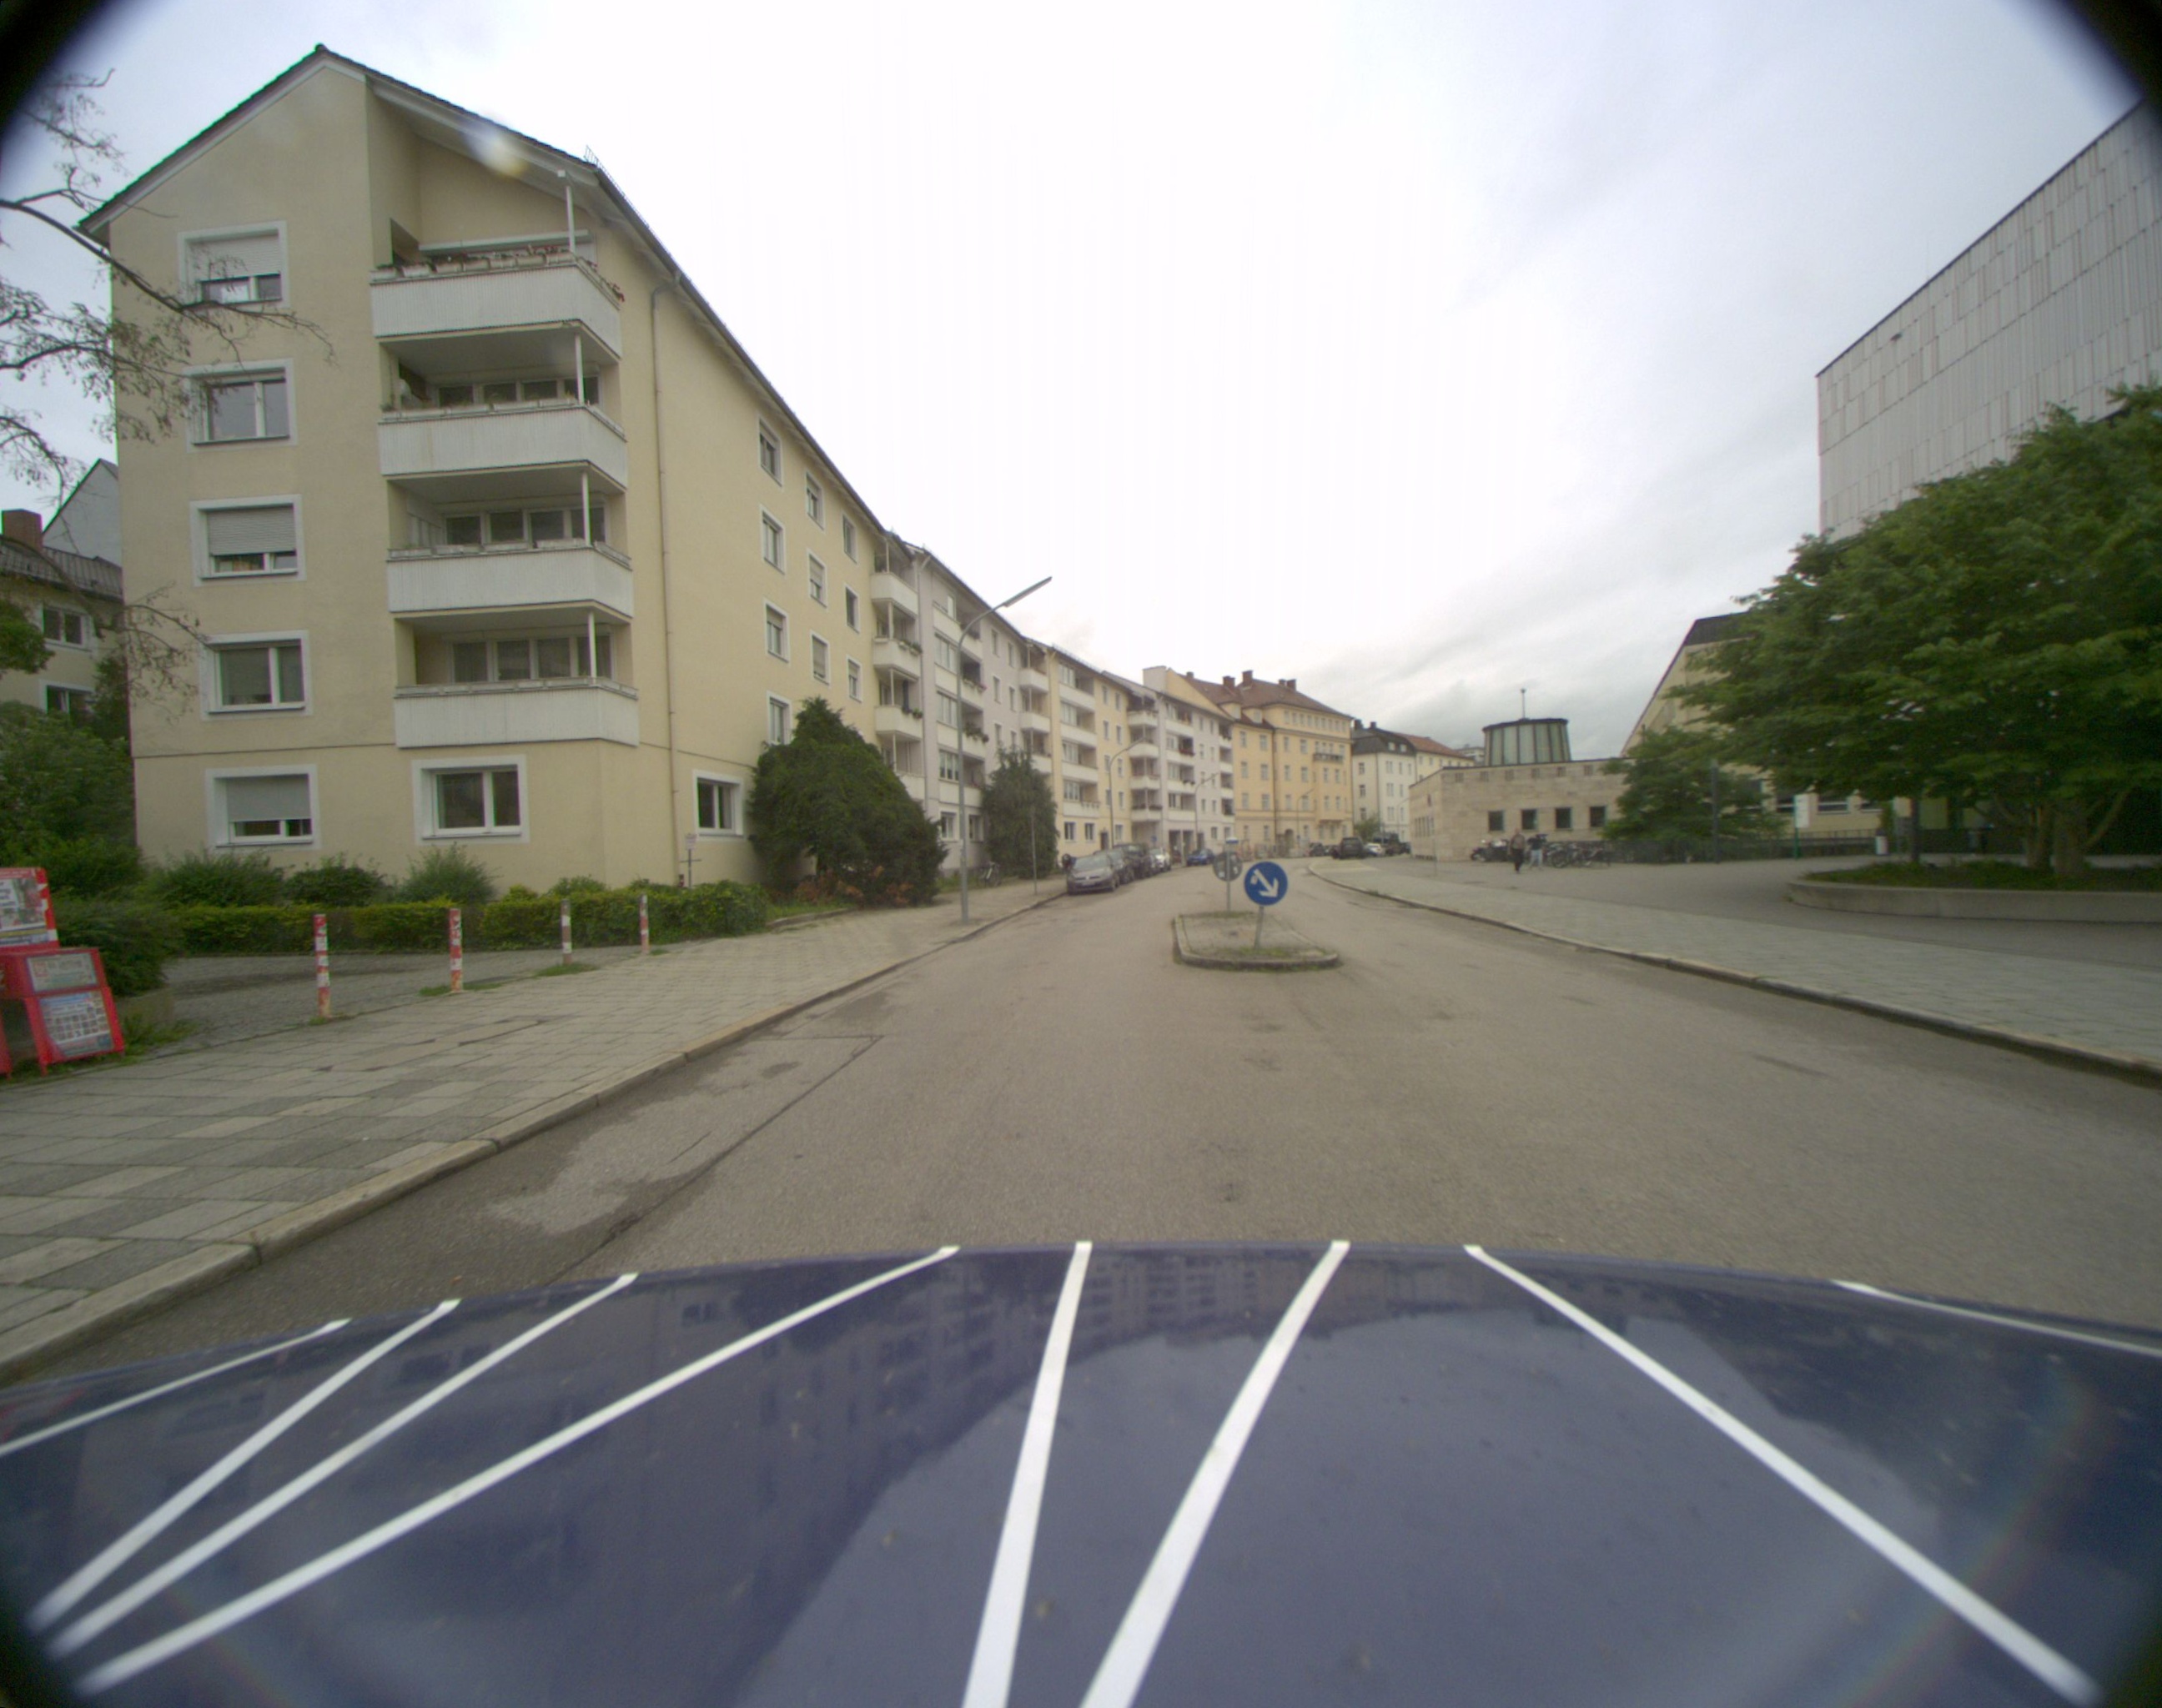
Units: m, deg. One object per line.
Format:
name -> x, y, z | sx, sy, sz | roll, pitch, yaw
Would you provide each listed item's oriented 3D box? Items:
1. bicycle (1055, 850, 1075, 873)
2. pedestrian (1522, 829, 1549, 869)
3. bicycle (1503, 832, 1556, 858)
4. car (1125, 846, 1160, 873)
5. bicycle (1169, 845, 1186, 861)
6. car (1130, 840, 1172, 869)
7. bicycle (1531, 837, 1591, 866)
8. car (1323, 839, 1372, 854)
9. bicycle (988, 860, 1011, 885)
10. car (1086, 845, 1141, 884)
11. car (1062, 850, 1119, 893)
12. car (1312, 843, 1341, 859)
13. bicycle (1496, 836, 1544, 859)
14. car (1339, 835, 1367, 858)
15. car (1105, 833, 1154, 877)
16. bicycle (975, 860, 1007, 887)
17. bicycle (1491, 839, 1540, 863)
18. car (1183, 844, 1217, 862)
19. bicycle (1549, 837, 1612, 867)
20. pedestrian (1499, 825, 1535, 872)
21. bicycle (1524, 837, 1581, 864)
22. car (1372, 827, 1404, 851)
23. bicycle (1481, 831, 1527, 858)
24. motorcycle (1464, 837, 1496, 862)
bicycle -> -1.027, 0.453, 48.550 | 0.743, 1.360, 2.473 | 1, 1, 11
pedestrian -> 18.786, -0.212, 31.430 | 0.645, 1.592, 0.605 | -4, 0, -13
bicycle -> 21.168, -0.432, 35.889 | 2.050, 1.104, 0.617 | -4, 0, 5
car -> 3.622, 0.309, 44.586 | 1.661, 1.341, 3.806 | -4, 1, 9
bicycle -> 8.449, -0.125, 66.359 | 0.810, 1.315, 2.778 | 0, 2, 20
car -> 4.638, 0.031, 49.558 | 2.029, 1.668, 4.617 | -4, -1, 12
bicycle -> 20.873, -0.100, 33.061 | 2.049, 1.104, 0.617 | -4, 0, 9
car -> 25.008, -0.698, 71.388 | 4.006, 1.366, 1.748 | 0, 2, -6
bicycle -> -3.855, 0.856, 36.006 | 0.468, 1.111, 1.945 | -1, 1, 13
car -> 1.553, 0.422, 35.011 | 1.661, 1.556, 4.518 | -4, 0, 13
car -> 0.455, 0.625, 30.054 | 1.758, 1.388, 4.045 | -4, 1, 7
car -> 30.906, -0.404, 95.504 | 3.737, 1.719, 1.838 | -3, -1, -43
bicycle -> 23.239, -0.338, 40.239 | 2.049, 1.104, 0.617 | -4, 0, 11
car -> 22.387, -0.603, 62.455 | 1.996, 1.761, 4.821 | -2, 0, 21
car -> 2.614, 0.064, 39.918 | 1.750, 2.069, 4.520 | -4, -1, 13
bicycle -> -3.980, 0.844, 33.717 | 0.467, 1.111, 1.947 | -1, 1, 24
bicycle -> 22.261, -0.166, 38.935 | 2.048, 1.104, 0.617 | -4, 0, 16
car -> 10.071, -0.117, 63.976 | 1.832, 1.433, 4.635 | -2, 0, 22
bicycle -> 20.738, -0.064, 31.588 | 2.049, 1.104, 0.617 | -4, 0, 9
pedestrian -> 17.214, -0.229, 30.025 | 0.788, 1.772, 1.014 | -4, 1, 1
bicycle -> 21.386, -0.160, 34.501 | 2.049, 1.104, 0.617 | -4, 0, 9
car -> 34.056, -1.658, 84.110 | 2.145, 2.559, 6.223 | 0, 1, 33
bicycle -> 23.462, -0.514, 42.150 | 2.101, 1.344, 0.614 | -4, 0, 12
motorcycle -> 24.410, -0.288, 46.476 | 1.566, 1.397, 0.515 | -4, 0, 14
